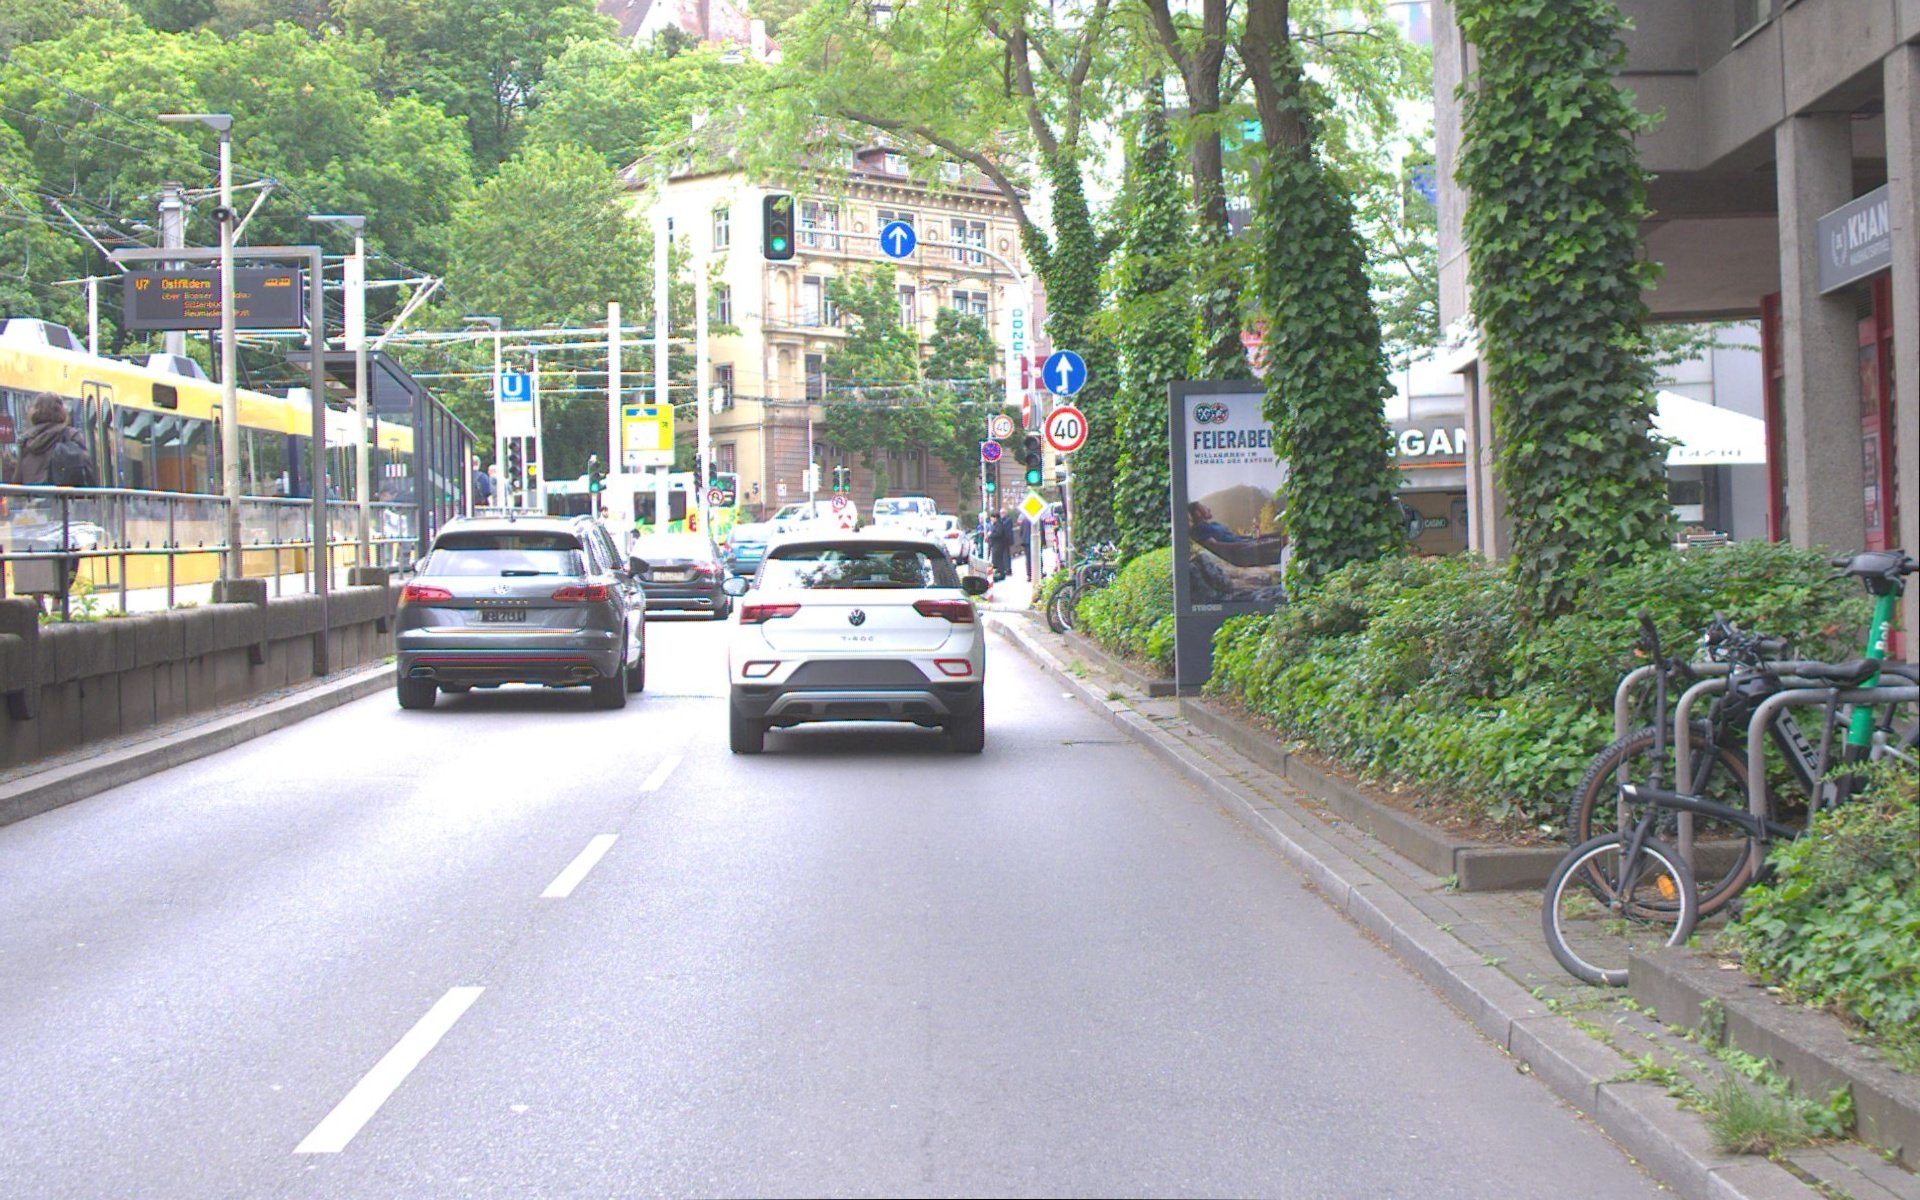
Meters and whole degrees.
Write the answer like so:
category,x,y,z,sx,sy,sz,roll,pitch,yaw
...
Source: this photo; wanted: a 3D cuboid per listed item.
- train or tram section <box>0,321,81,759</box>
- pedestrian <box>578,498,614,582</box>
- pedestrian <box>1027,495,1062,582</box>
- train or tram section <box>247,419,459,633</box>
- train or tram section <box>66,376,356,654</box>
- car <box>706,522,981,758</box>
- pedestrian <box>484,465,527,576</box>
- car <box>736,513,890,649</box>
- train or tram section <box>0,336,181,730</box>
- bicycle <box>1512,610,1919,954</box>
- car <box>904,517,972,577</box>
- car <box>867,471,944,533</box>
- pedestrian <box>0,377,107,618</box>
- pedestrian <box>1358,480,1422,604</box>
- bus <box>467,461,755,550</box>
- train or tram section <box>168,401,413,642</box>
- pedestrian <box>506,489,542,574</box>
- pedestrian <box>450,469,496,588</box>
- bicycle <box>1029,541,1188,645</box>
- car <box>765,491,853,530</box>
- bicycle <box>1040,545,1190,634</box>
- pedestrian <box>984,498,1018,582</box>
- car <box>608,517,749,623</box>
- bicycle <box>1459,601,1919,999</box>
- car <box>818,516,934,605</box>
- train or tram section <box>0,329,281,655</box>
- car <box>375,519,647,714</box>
category,x,y,z,sx,sy,sz,roll,pitch,yaw
train or tram section,-9.426,-0.498,28.027,2.813,3.654,6.751,0,1,0
pedestrian,-8.872,-1.457,83.821,0.762,2.007,0.838,0,-1,0
pedestrian,1.971,-1.427,80.255,0.762,2.007,0.838,0,-1,5
train or tram section,-10.895,-1.301,62.295,2.813,3.654,6.752,0,1,-2
train or tram section,-10.478,-1.155,48.766,2.813,3.654,6.752,0,1,-2
car,-0.768,0.241,25.081,1.837,1.578,4.157,0,1,0
pedestrian,-8.304,-1.446,62.870,0.762,2.007,0.838,0,-1,-8
car,-1.859,-0.216,44.593,1.885,1.678,4.161,0,0,-1
train or tram section,-10.071,-0.660,35.225,2.813,3.654,6.752,0,1,-2
bicycle,2.946,0.598,11.869,1.915,1.073,0.613,-3,0,-3
car,-0.626,-1.568,102.777,1.885,1.678,4.161,0,0,2
car,-1.894,-3.418,120.968,2.365,2.007,5.147,0,0,3
pedestrian,-6.810,-0.763,25.680,0.627,1.756,0.847,-1,1,-1
pedestrian,5.625,-0.749,44.978,0.635,1.603,0.588,0,-1,-21
bus,-13.668,-3.580,133.223,13.315,3.054,3.374,0,-1,45
train or tram section,-10.692,-1.222,55.524,2.813,3.654,6.752,0,1,-2
pedestrian,-10.382,-1.618,81.820,0.762,2.007,0.838,0,-1,-1
pedestrian,-8.302,-1.217,58.650,0.762,2.007,0.838,0,-1,-8
bicycle,1.843,-0.084,42.619,1.881,1.262,0.764,0,-1,10
car,-6.652,-3.961,152.002,1.915,1.683,3.993,1,2,33
bicycle,1.996,-0.131,44.111,1.881,1.133,0.808,0,-1,6
pedestrian,0.996,-1.445,83.077,0.762,2.007,0.838,0,-1,5
car,-4.647,-0.529,57.263,1.912,1.683,4.000,1,1,1
bicycle,2.415,0.600,10.647,1.620,1.124,0.613,-3,0,3
car,-1.694,-0.745,67.940,1.884,1.678,4.162,0,0,-7
train or tram section,-10.282,-1.245,41.990,2.813,3.654,6.752,0,1,-2
car,-3.951,0.098,30.850,1.993,1.630,4.000,0,1,-1
